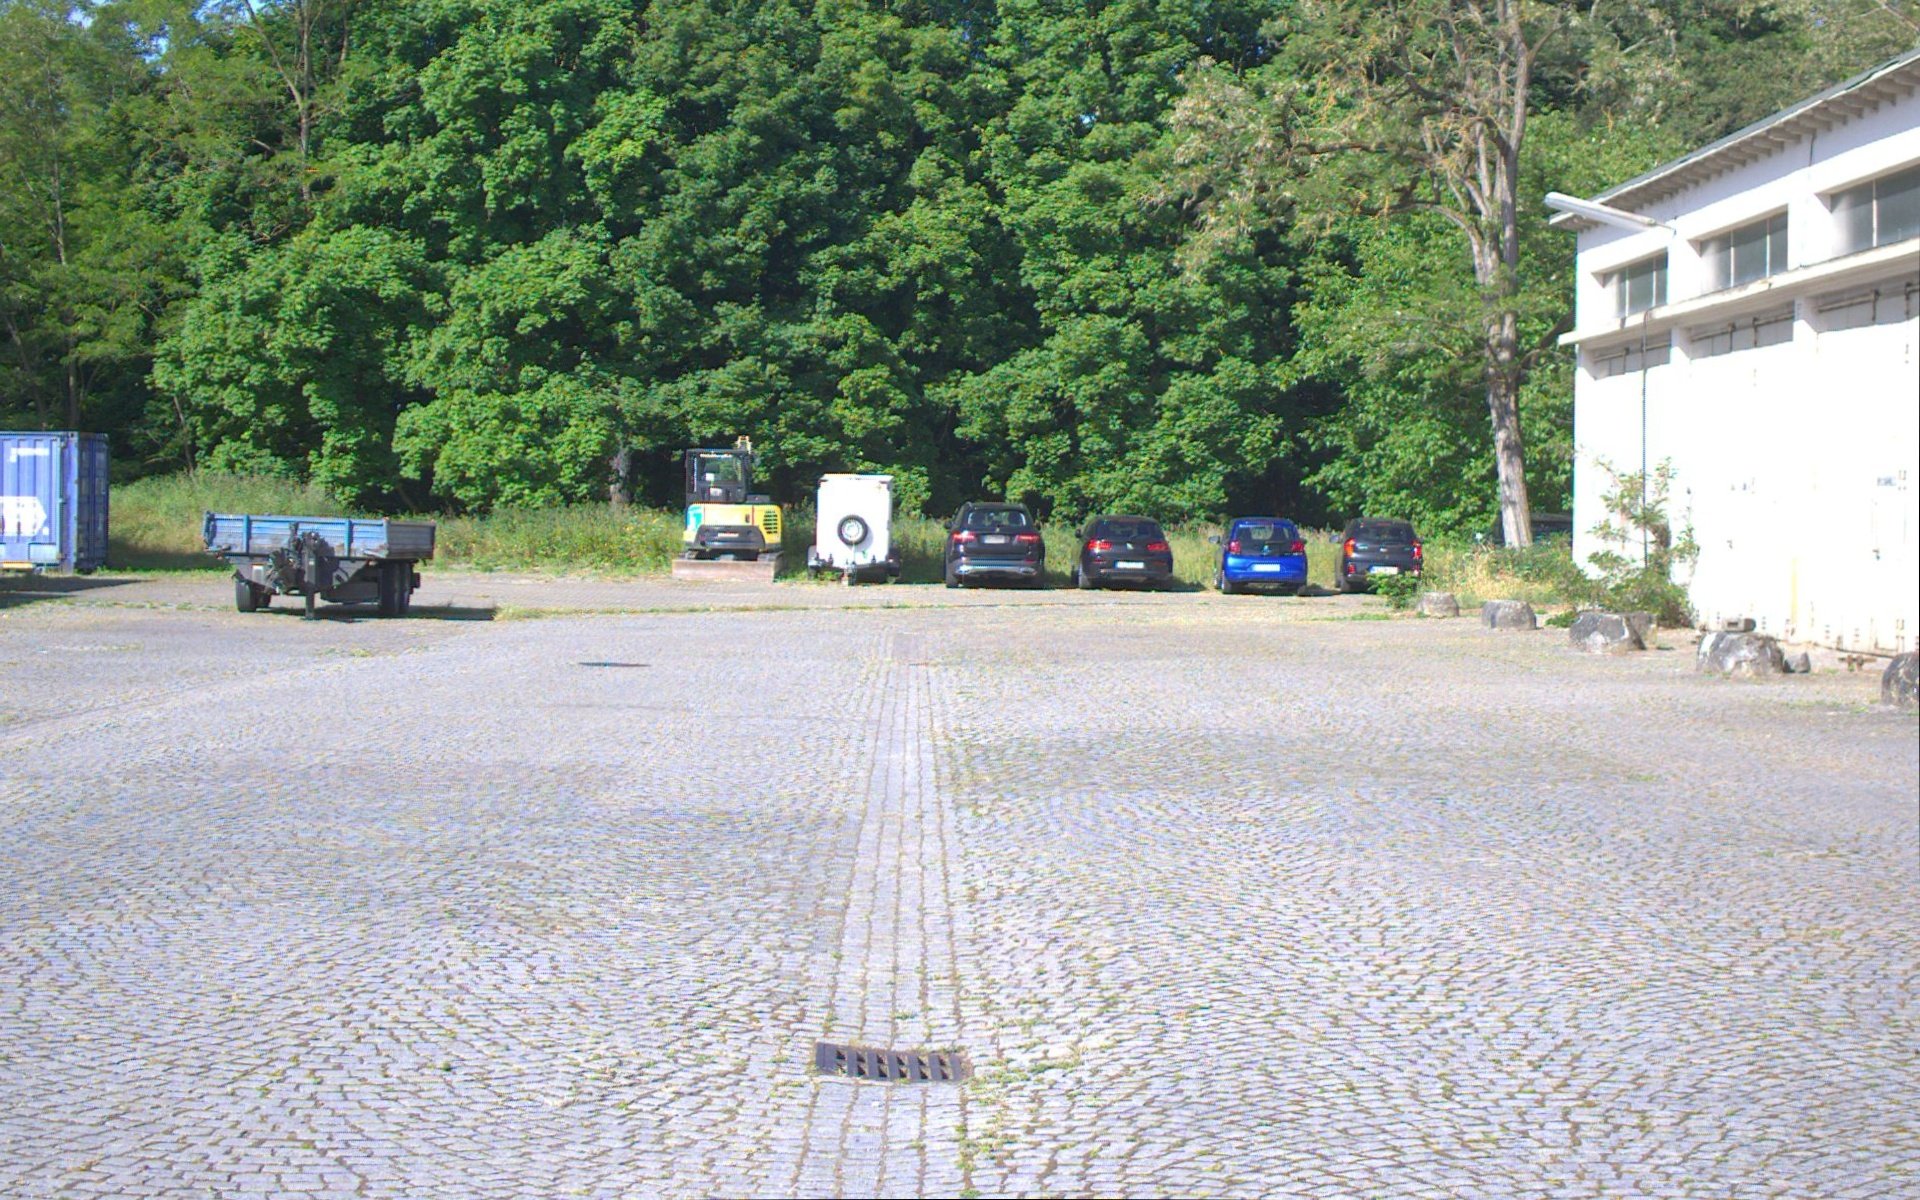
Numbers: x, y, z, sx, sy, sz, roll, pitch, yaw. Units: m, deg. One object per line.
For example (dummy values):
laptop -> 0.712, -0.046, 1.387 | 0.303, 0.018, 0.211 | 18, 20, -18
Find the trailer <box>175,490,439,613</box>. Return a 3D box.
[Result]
trailer -> -9.052, -0.732, 48.315 | 2.705, 1.460, 6.248 | 2, 2, -2

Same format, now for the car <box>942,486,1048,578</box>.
car -> 0.638, -1.341, 66.073 | 1.863, 1.583, 4.296 | 2, 3, -1

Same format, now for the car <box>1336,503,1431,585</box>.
car -> 8.323, -1.124, 67.840 | 1.744, 1.431, 4.182 | 3, 3, 6

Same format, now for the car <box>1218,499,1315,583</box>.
car -> 5.891, -1.164, 66.415 | 1.744, 1.431, 4.183 | 2, 3, 4

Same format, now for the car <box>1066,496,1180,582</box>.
car -> 3.121, -1.208, 66.459 | 1.863, 1.465, 4.296 | 2, 3, -1

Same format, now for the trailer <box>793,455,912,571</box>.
trailer -> -2.093, -1.774, 68.427 | 2.193, 2.087, 5.752 | 2, 3, -1

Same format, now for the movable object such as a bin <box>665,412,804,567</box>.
movable object such as a bin -> -4.472, -2.253, 68.994 | 2.306, 2.886, 5.752 | 2, 3, 0
